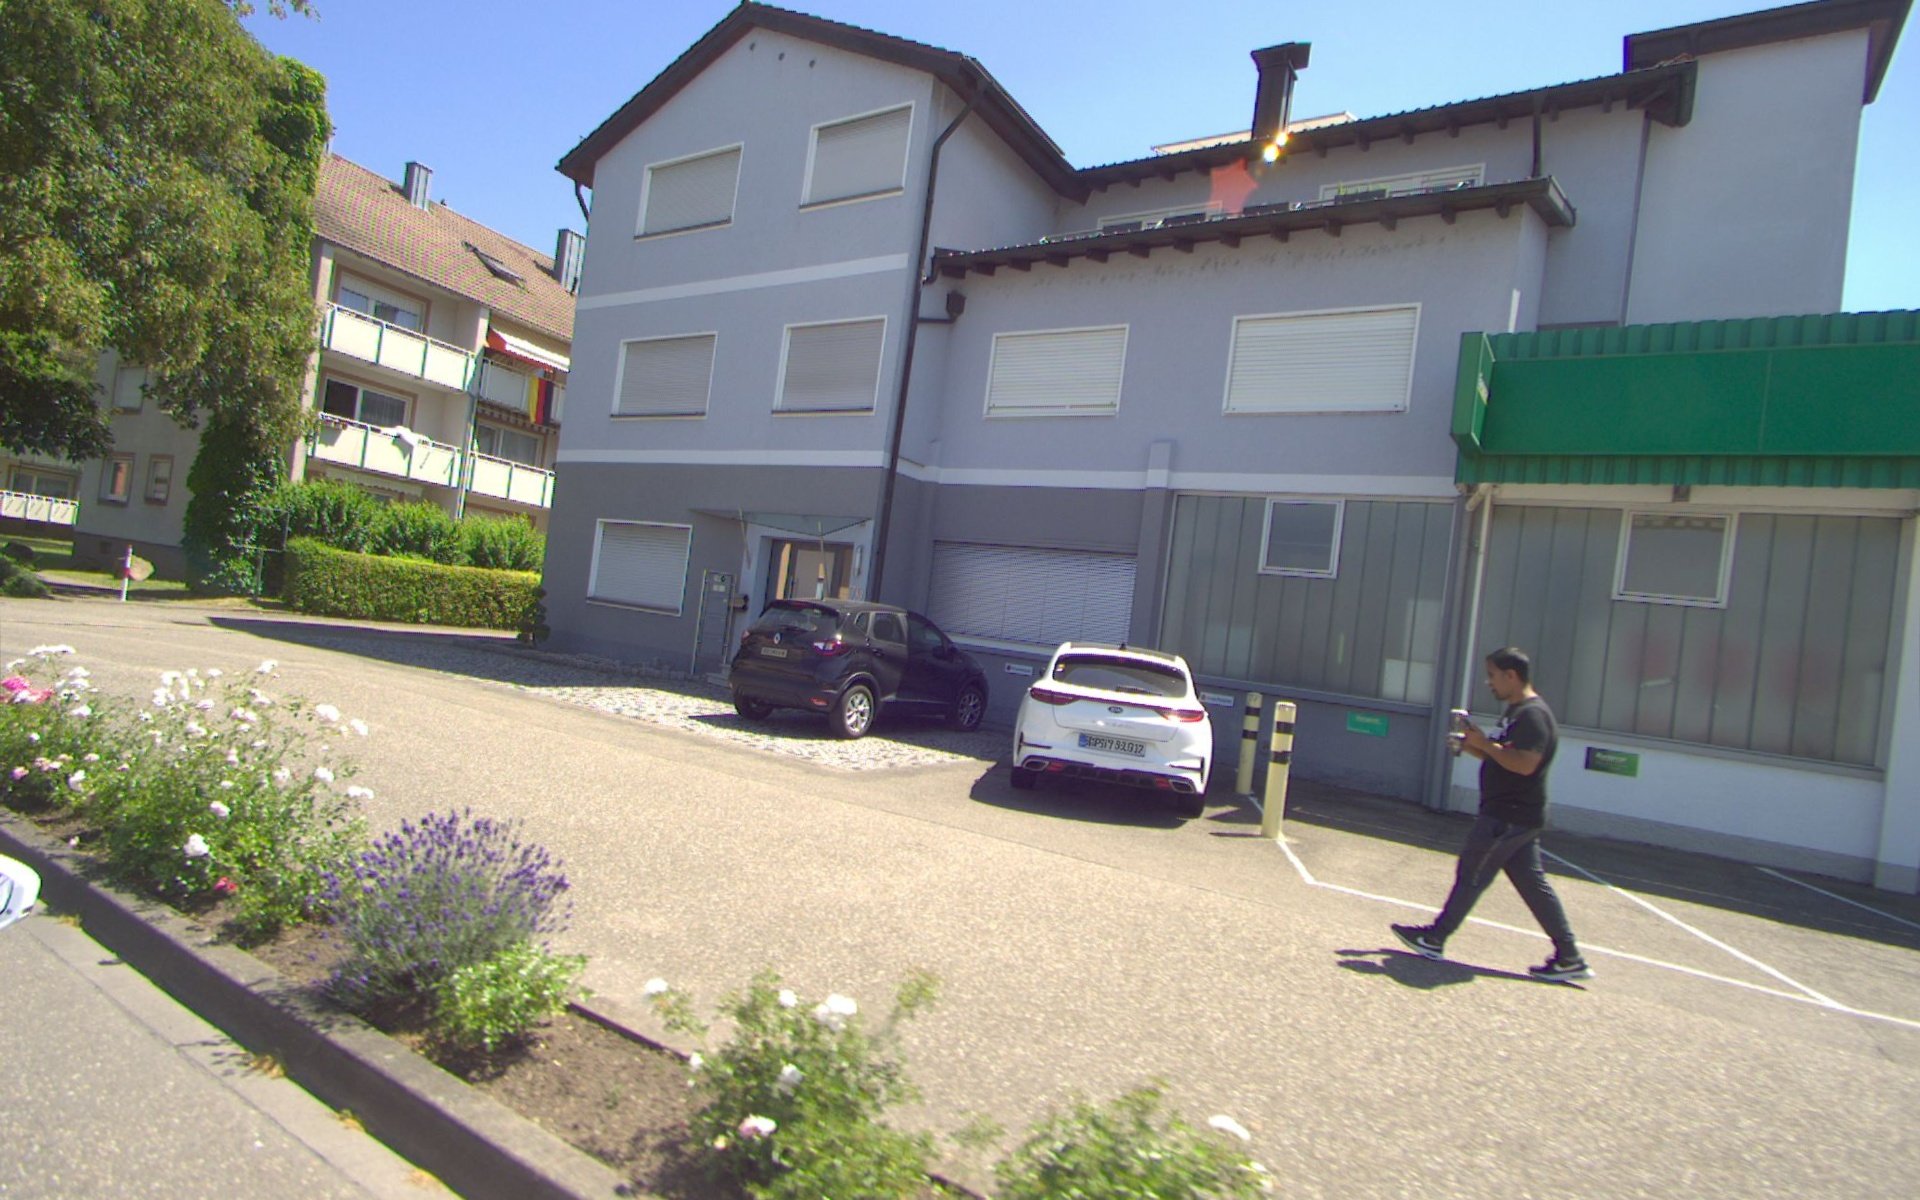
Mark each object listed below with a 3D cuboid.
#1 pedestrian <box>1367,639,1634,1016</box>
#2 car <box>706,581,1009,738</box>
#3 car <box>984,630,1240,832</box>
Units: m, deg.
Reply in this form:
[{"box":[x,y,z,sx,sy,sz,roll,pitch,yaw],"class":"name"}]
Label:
[{"box":[2.857,1.100,5.309,0.994,1.661,0.840,6,0,36],"class":"pedestrian"},{"box":[-1.144,0.745,13.044,1.768,1.570,3.991,6,0,31],"class":"car"},{"box":[1.547,1.144,10.306,1.918,1.387,4.362,6,-1,9],"class":"car"}]
